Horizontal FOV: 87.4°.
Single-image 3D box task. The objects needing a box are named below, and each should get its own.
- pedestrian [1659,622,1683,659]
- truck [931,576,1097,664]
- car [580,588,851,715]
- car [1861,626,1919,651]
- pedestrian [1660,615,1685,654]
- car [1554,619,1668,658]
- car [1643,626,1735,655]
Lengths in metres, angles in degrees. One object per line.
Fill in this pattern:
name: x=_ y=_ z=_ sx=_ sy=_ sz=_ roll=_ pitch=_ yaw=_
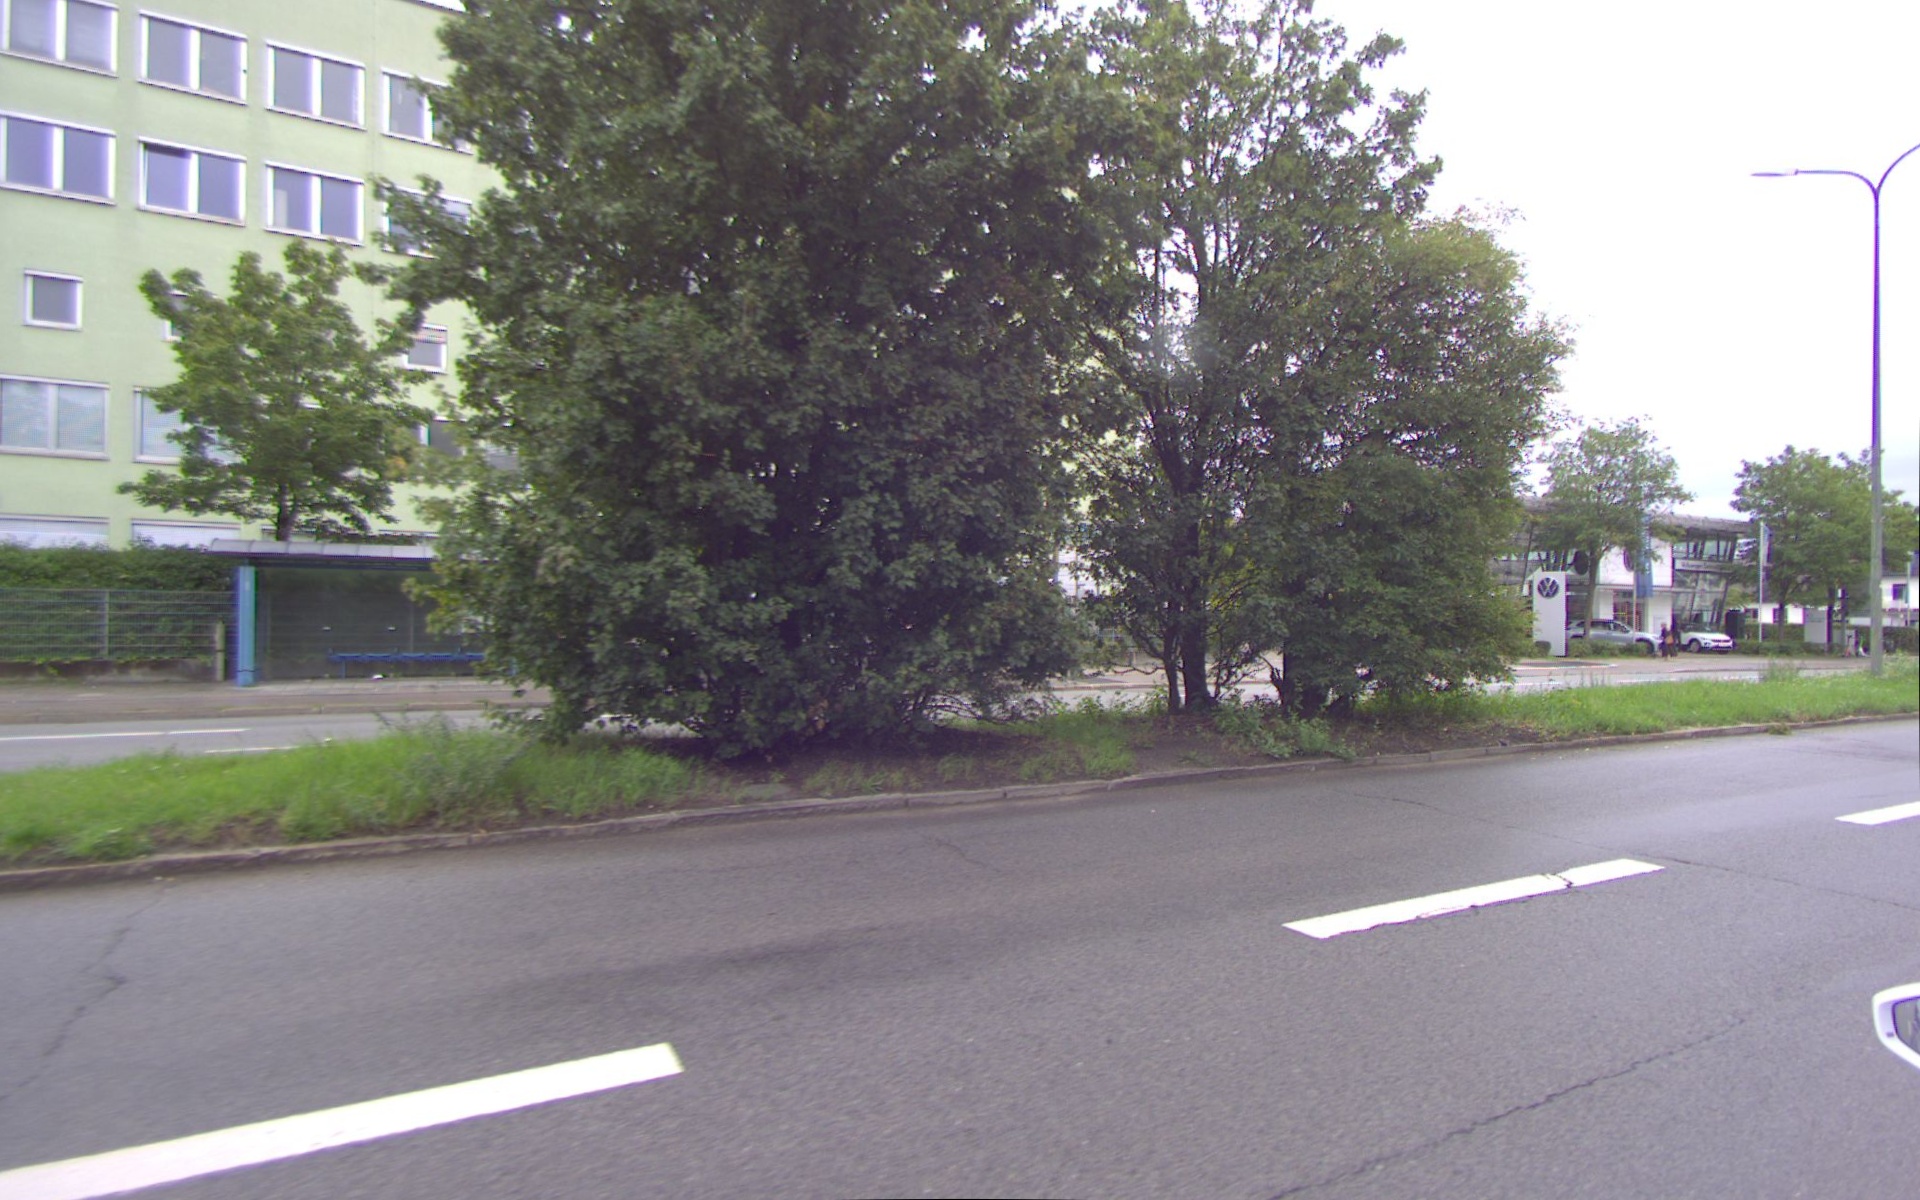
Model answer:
pedestrian: x=31.941 y=1.830 z=45.132 sx=0.614 sy=1.631 sz=0.634 roll=1 pitch=-2 yaw=-29
truck: x=1.798 y=0.697 z=33.545 sx=5.229 sy=2.784 sz=1.989 roll=1 pitch=-2 yaw=-24
car: x=-4.262 y=0.874 z=17.669 sx=4.274 sy=1.986 sz=1.984 roll=1 pitch=-3 yaw=-30
car: x=66.084 y=2.722 z=70.455 sx=1.835 sy=1.730 sz=4.107 roll=2 pitch=-3 yaw=-40
pedestrian: x=37.795 y=1.813 z=53.279 sx=0.869 sy=2.040 sz=0.711 roll=1 pitch=-2 yaw=-30
car: x=32.201 y=1.912 z=49.778 sx=4.575 sy=1.866 sz=1.794 roll=-2 pitch=-3 yaw=39
car: x=39.498 y=2.187 z=54.542 sx=1.768 sy=1.529 sz=3.996 roll=0 pitch=-2 yaw=-8
